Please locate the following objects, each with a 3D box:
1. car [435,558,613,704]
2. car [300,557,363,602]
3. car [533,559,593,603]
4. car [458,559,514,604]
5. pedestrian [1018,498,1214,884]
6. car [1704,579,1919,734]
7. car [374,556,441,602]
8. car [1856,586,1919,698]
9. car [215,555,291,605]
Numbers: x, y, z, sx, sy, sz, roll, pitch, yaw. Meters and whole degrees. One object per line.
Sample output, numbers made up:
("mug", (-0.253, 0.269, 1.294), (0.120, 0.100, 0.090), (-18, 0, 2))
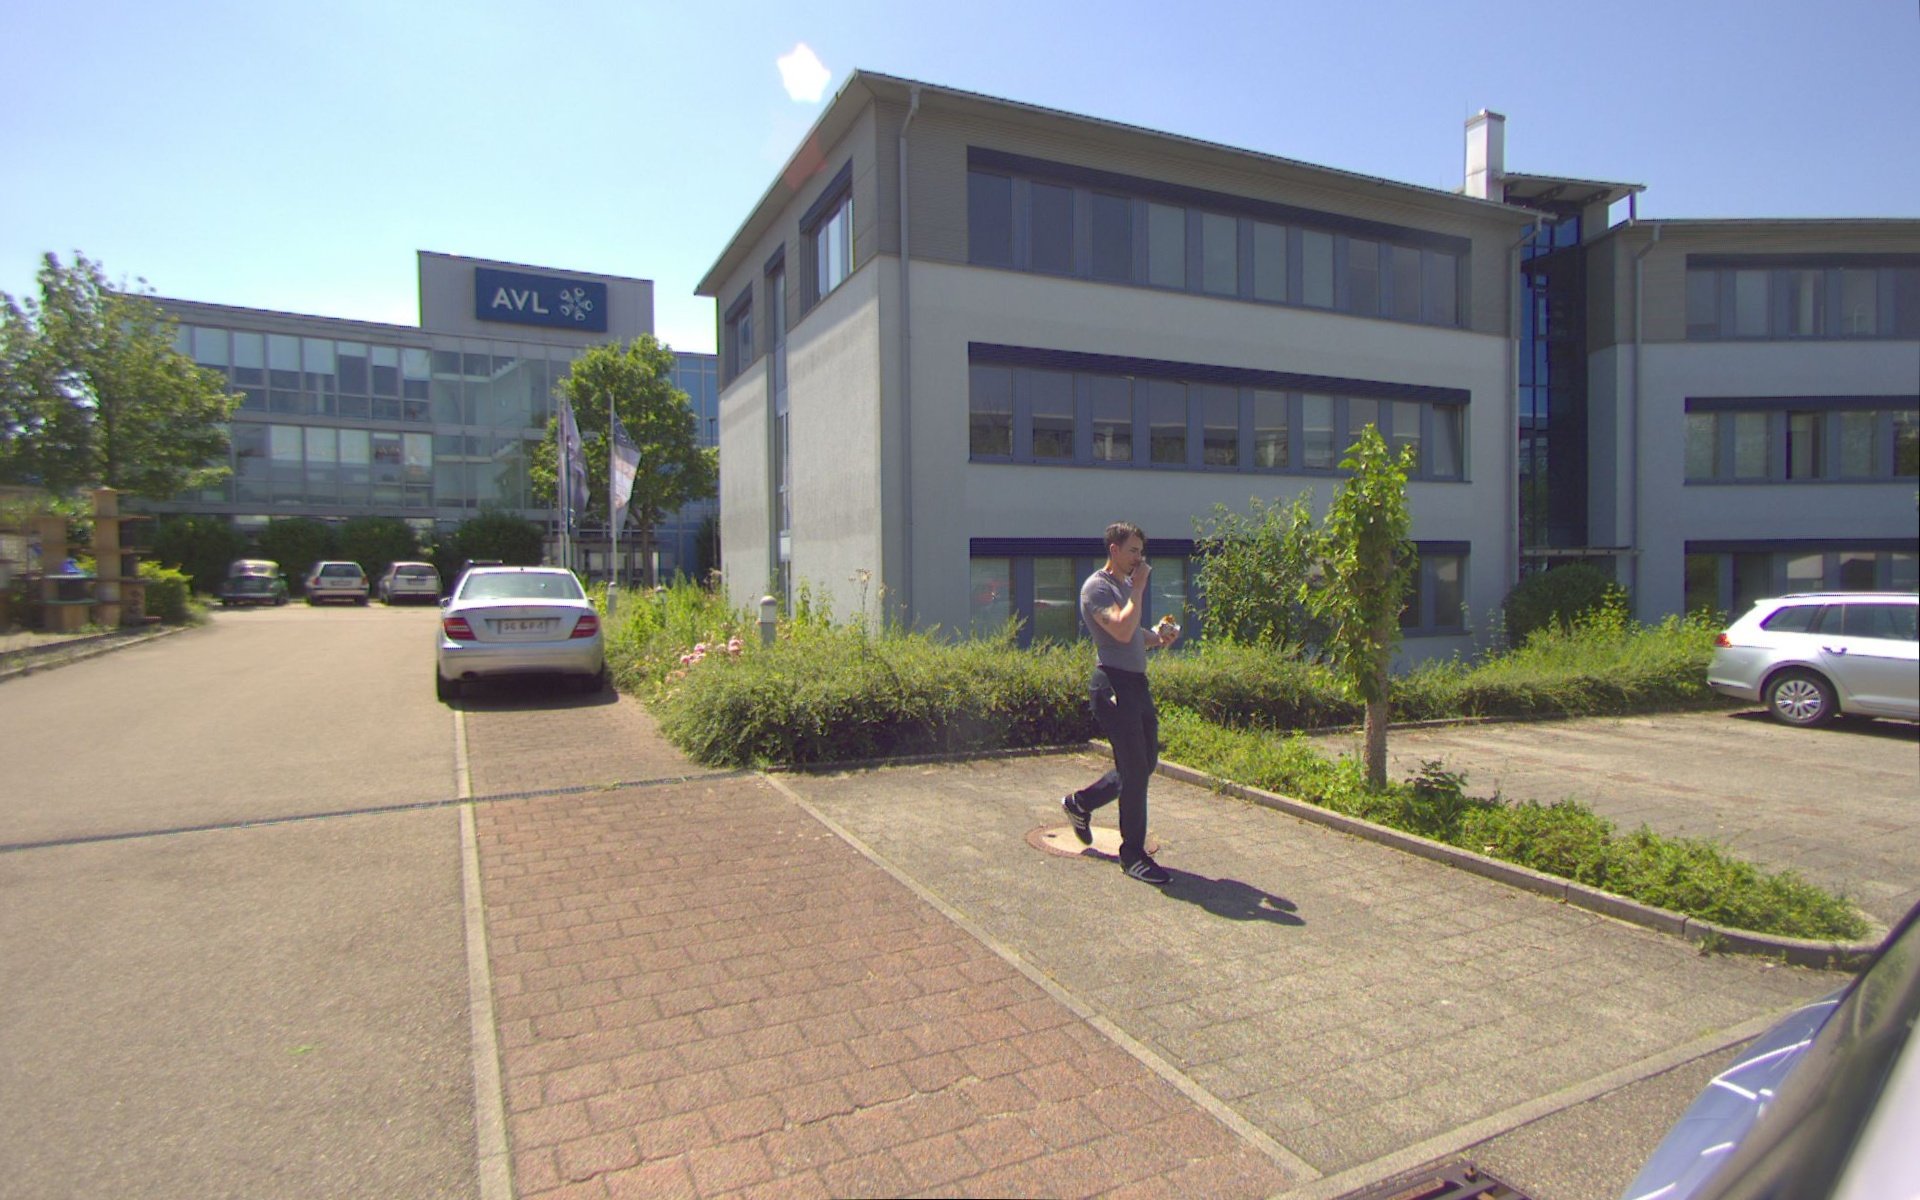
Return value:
("car", (-5.308, 0.276, 12.137), (1.694, 1.454, 3.723), (0, 1, -27))
("car", (-21.490, -0.695, 34.555), (1.642, 1.458, 4.001), (0, 1, -34))
("car", (-14.987, -0.715, 38.093), (1.714, 1.538, 4.006), (0, 1, -28))
("car", (-17.404, -0.682, 37.079), (1.714, 1.538, 4.006), (0, 1, -28))
("pedestrian", (0.789, 0.411, 5.157), (0.785, 1.779, 0.609), (0, 1, 44))
("car", (10.540, 0.588, 10.228), (1.792, 1.515, 4.527), (0, 2, -28))
("car", (-19.776, -0.749, 36.154), (1.716, 1.538, 4.001), (0, 1, -34))
("car", (13.505, 0.590, 12.104), (1.618, 1.408, 3.833), (0, 2, -28))
("car", (-23.291, -0.663, 33.451), (1.715, 1.538, 4.004), (0, 1, -30))
